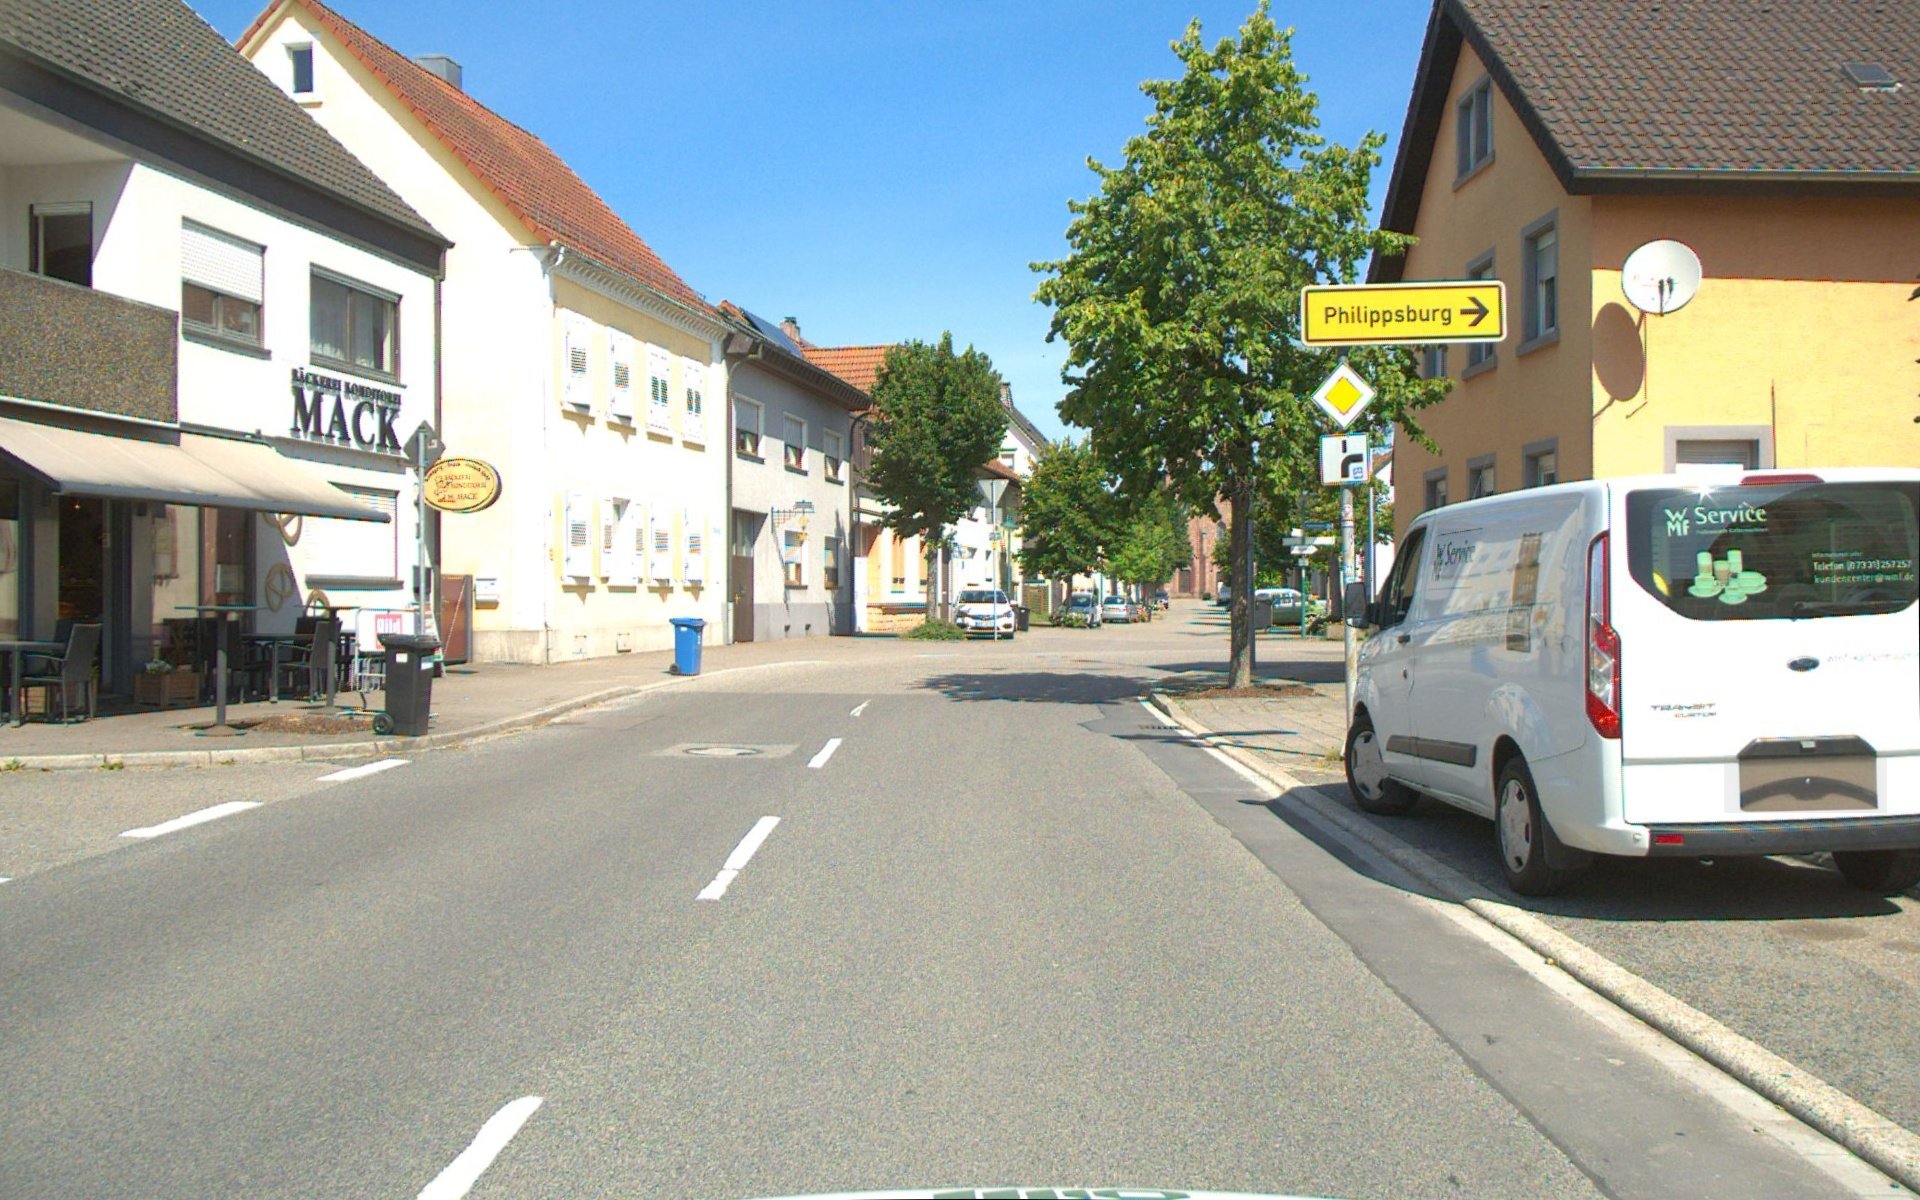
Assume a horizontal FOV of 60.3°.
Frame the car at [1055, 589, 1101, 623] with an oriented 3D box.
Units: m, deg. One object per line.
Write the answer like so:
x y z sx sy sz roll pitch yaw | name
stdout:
5.760 0.270 80.399 1.951 1.601 4.003 -1 0 8 | car

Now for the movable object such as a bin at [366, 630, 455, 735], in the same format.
-5.156 0.765 15.542 0.629 0.940 0.613 0 0 -1 | movable object such as a bin

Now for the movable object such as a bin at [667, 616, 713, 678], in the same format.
-4.482 0.779 27.453 0.629 0.998 0.614 0 0 2 | movable object such as a bin

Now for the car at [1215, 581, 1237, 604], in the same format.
28.310 -0.801 175.800 2.197 2.318 4.506 1 0 10 | car

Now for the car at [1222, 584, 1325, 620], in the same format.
14.697 0.072 77.655 4.701 1.652 2.002 0 0 10 | car

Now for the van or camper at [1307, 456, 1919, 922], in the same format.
3.628 0.366 9.762 1.953 1.988 5.345 0 0 -1 | van or camper

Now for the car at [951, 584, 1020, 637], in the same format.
0.687 0.284 48.143 1.812 1.466 4.511 0 0 -2 | car

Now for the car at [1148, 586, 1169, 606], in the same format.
19.334 -0.377 161.414 1.951 1.847 4.003 -1 0 6 | car

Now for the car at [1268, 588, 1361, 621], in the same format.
15.166 0.182 70.927 3.840 1.368 2.002 0 0 9 | car

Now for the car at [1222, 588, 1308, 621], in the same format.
14.799 0.208 80.304 4.061 1.595 2.002 0 0 9 | car

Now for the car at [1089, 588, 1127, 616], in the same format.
8.121 0.100 91.256 1.952 1.489 4.002 0 0 3 | car

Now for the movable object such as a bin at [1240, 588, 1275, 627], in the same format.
10.534 0.272 58.595 1.162 1.361 0.790 -1 0 13 | movable object such as a bin
